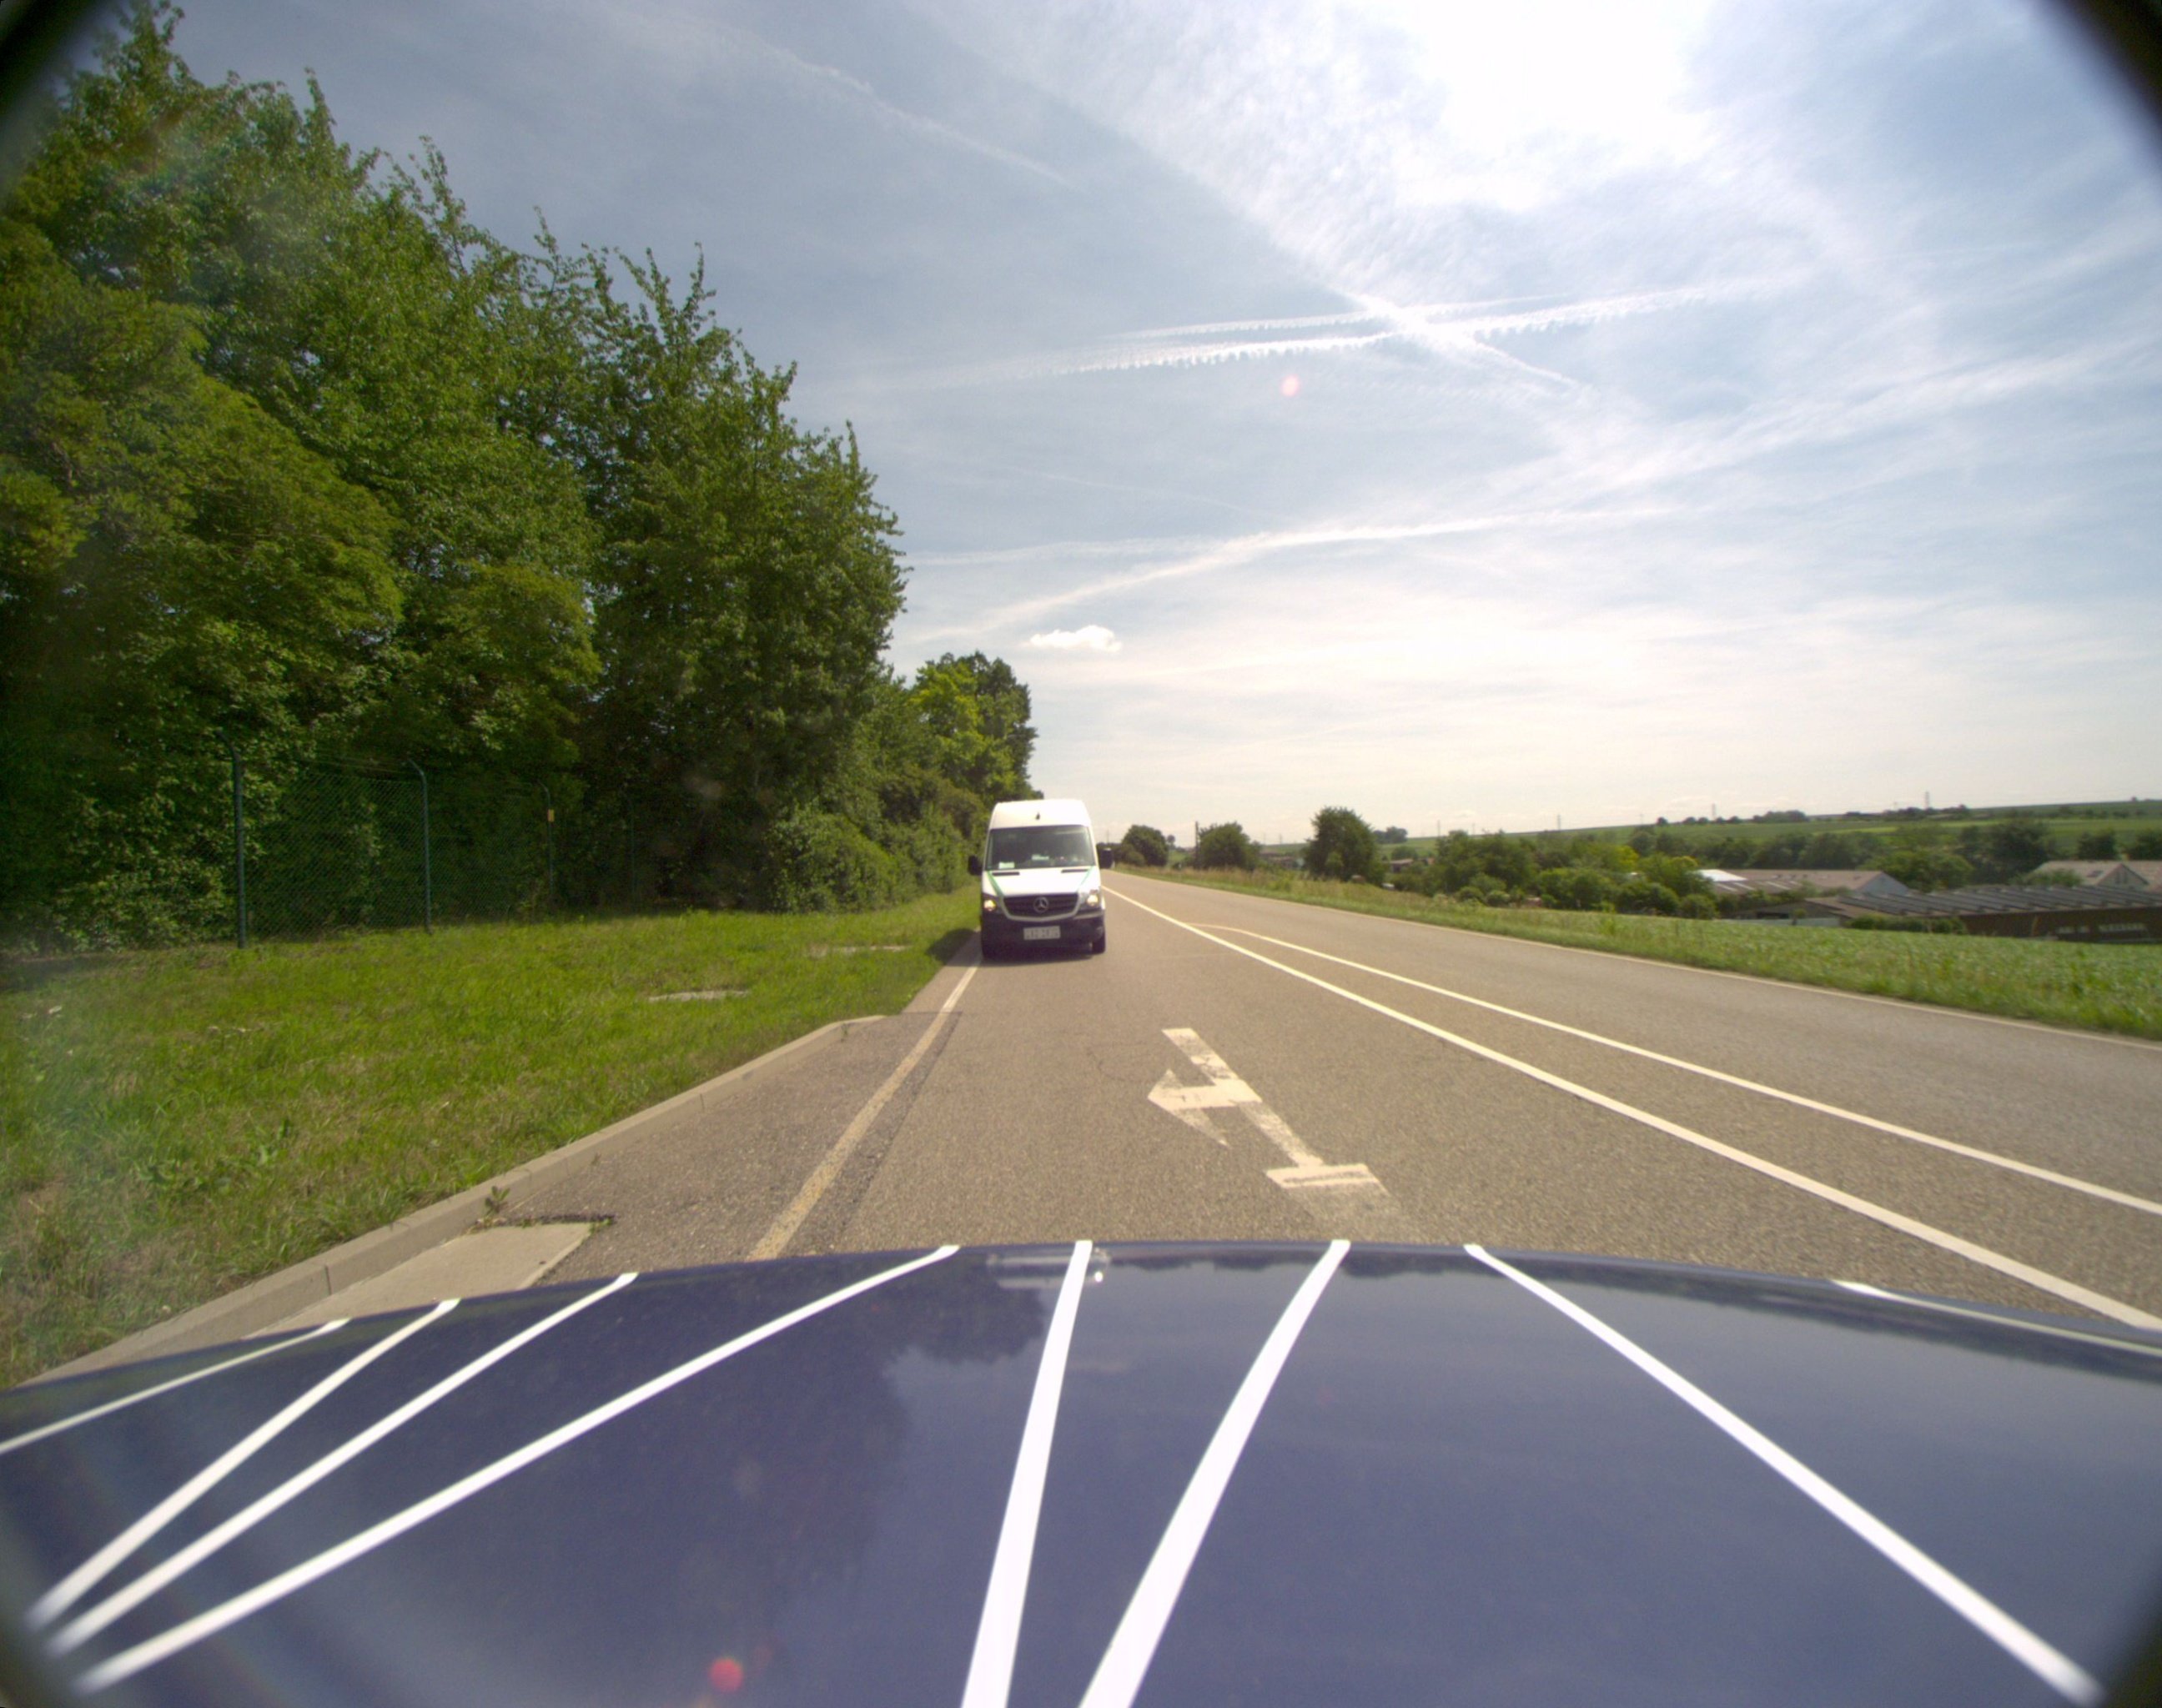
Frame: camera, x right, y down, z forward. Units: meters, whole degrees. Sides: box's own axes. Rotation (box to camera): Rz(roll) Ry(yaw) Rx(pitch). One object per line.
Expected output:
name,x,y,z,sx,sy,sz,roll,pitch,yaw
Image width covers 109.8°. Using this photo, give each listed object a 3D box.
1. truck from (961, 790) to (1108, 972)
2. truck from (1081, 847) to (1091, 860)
truck,-0.645,0.385,14.631,2.023,2.567,7.225,-2,0,0
truck,1.384,-0.139,206.670,2.763,3.555,11.066,1,0,1
